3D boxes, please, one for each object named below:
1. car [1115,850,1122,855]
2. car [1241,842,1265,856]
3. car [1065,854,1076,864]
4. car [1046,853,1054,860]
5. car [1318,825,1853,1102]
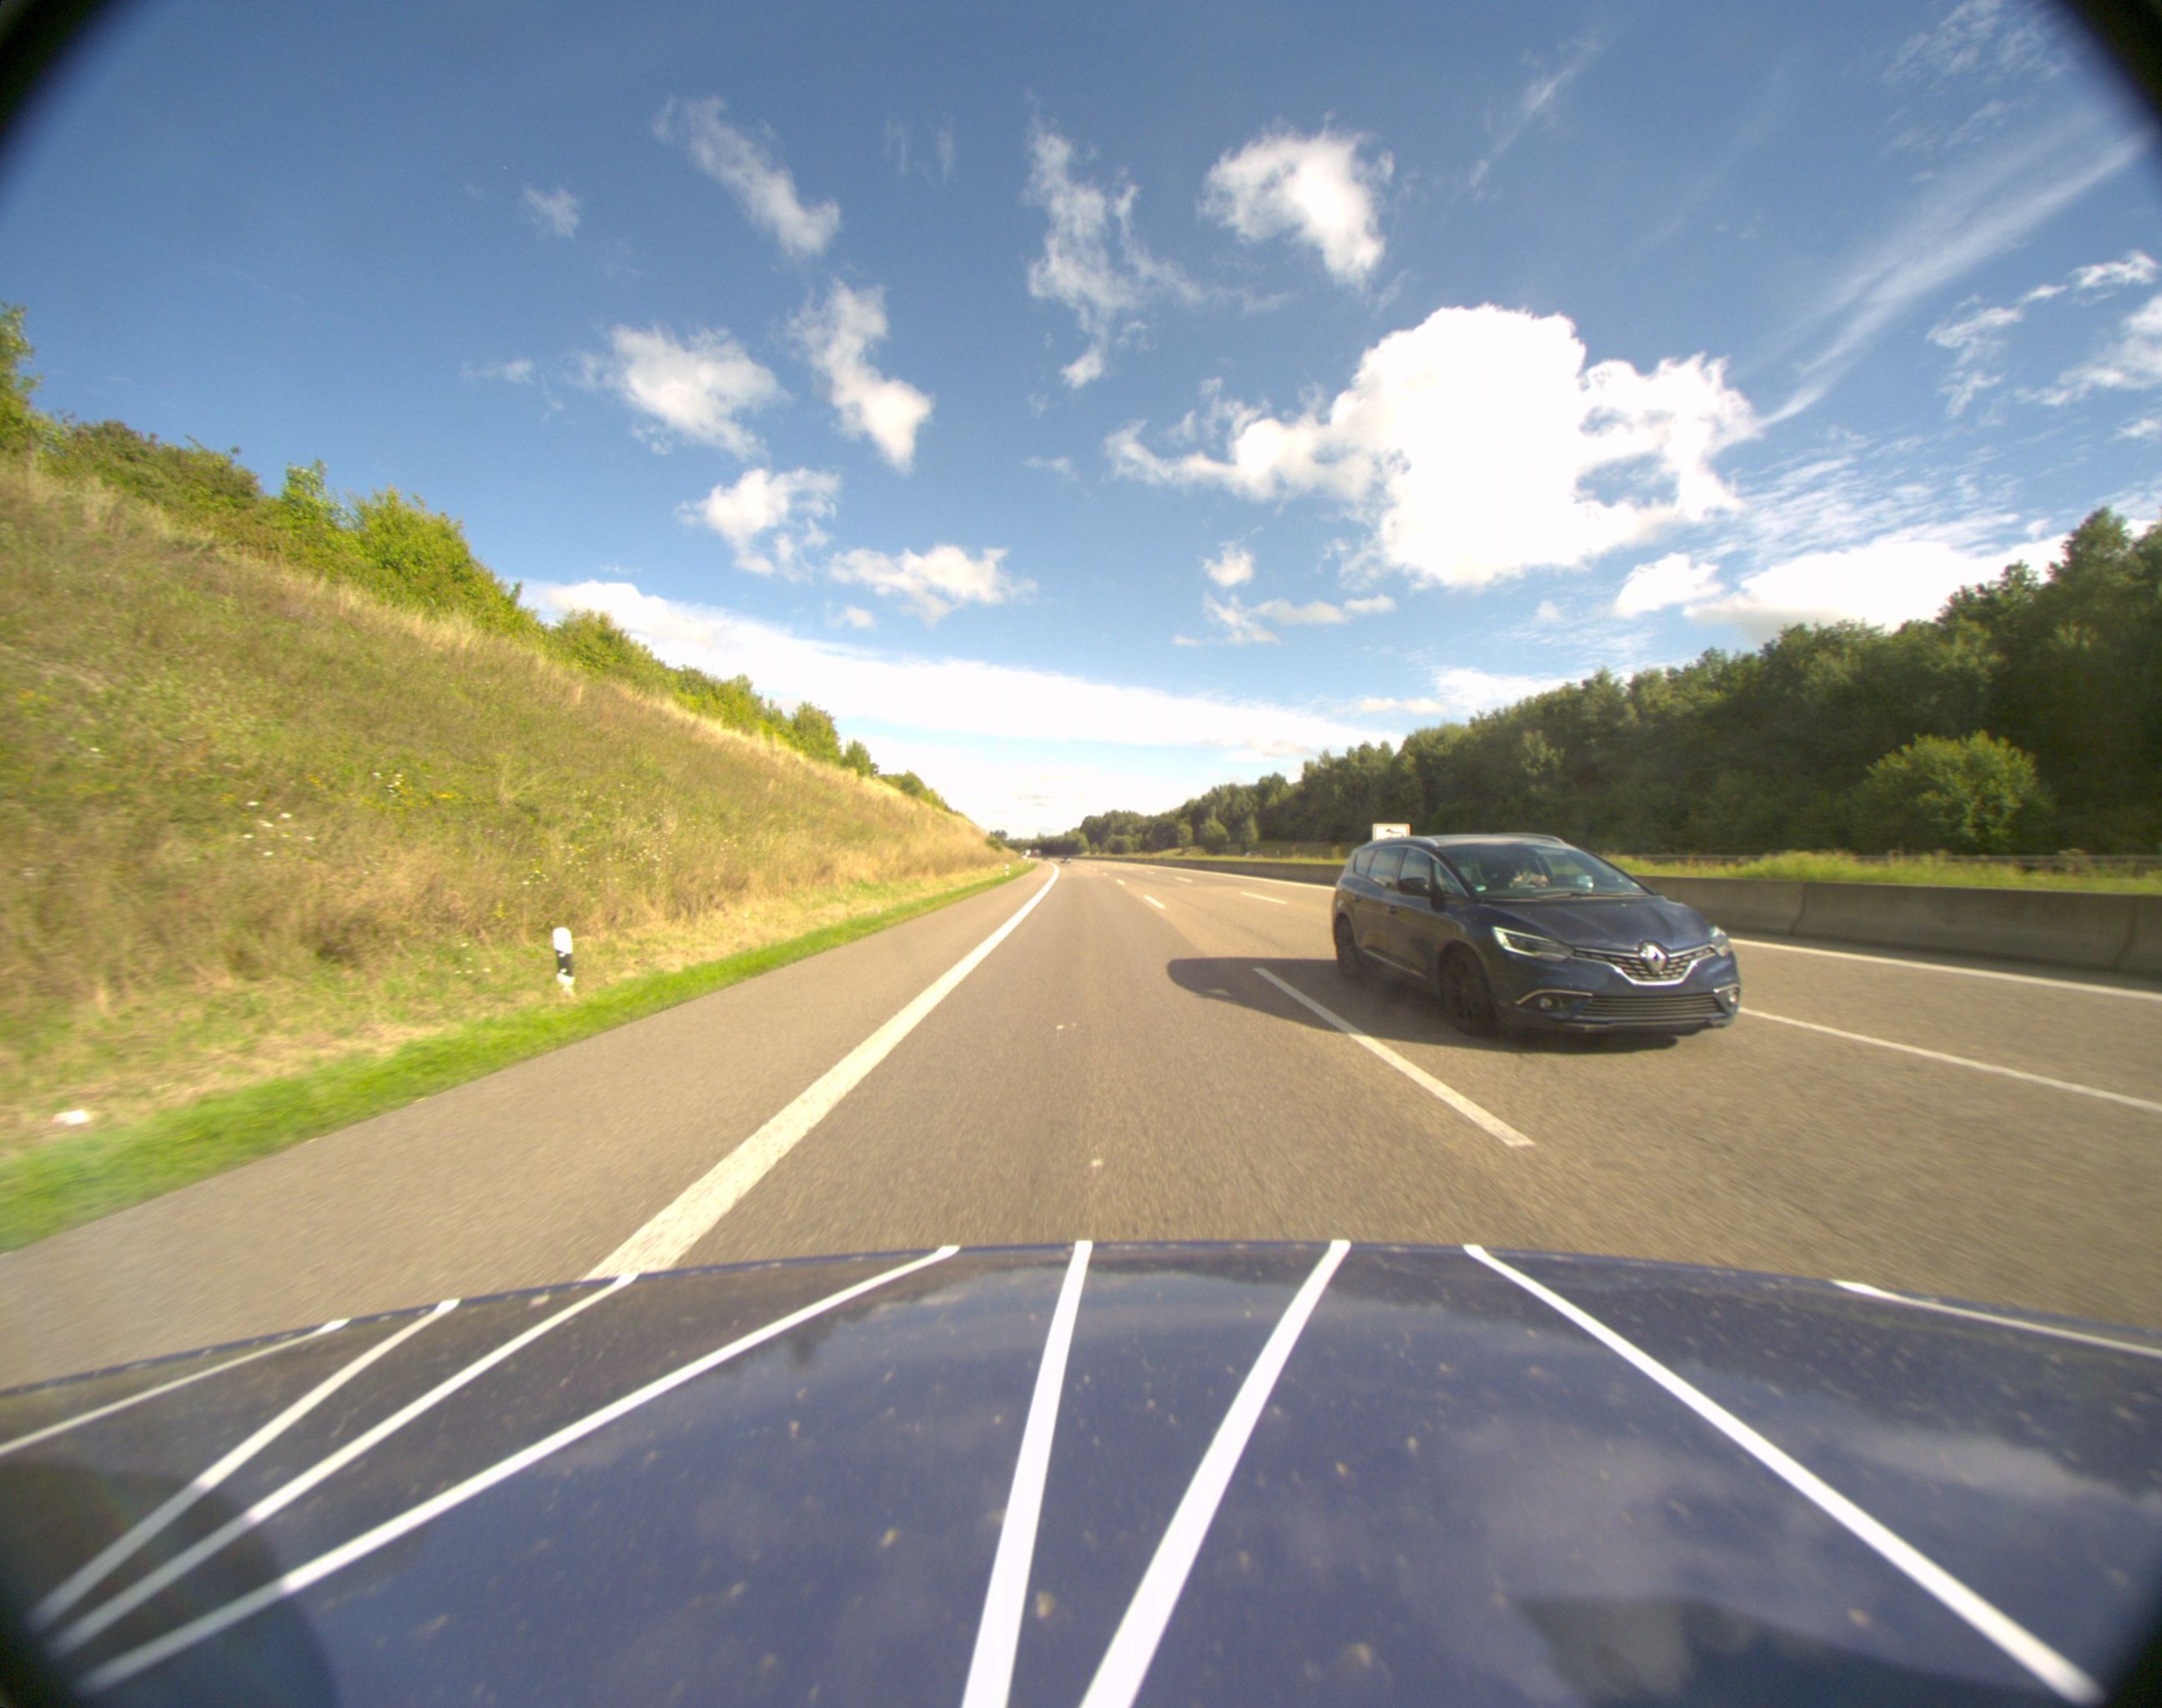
[{"bbox_3d":[12.064,-0.371,242.343,1.911,1.444,3.999,-2,0,-1],"label":"car"},{"bbox_3d":[21.558,-0.638,95.271,1.999,1.737,4.049,-2,1,0],"label":"car"},{"bbox_3d":[-2.021,0.970,148.502,1.999,1.827,3.998,-2,1,-2],"label":"car"},{"bbox_3d":[-9.256,0.626,224.707,2.000,2.002,3.997,-3,1,-8],"label":"car"},{"bbox_3d":[3.938,0.687,7.129,1.998,1.697,4.529,-2,0,1],"label":"car"}]
